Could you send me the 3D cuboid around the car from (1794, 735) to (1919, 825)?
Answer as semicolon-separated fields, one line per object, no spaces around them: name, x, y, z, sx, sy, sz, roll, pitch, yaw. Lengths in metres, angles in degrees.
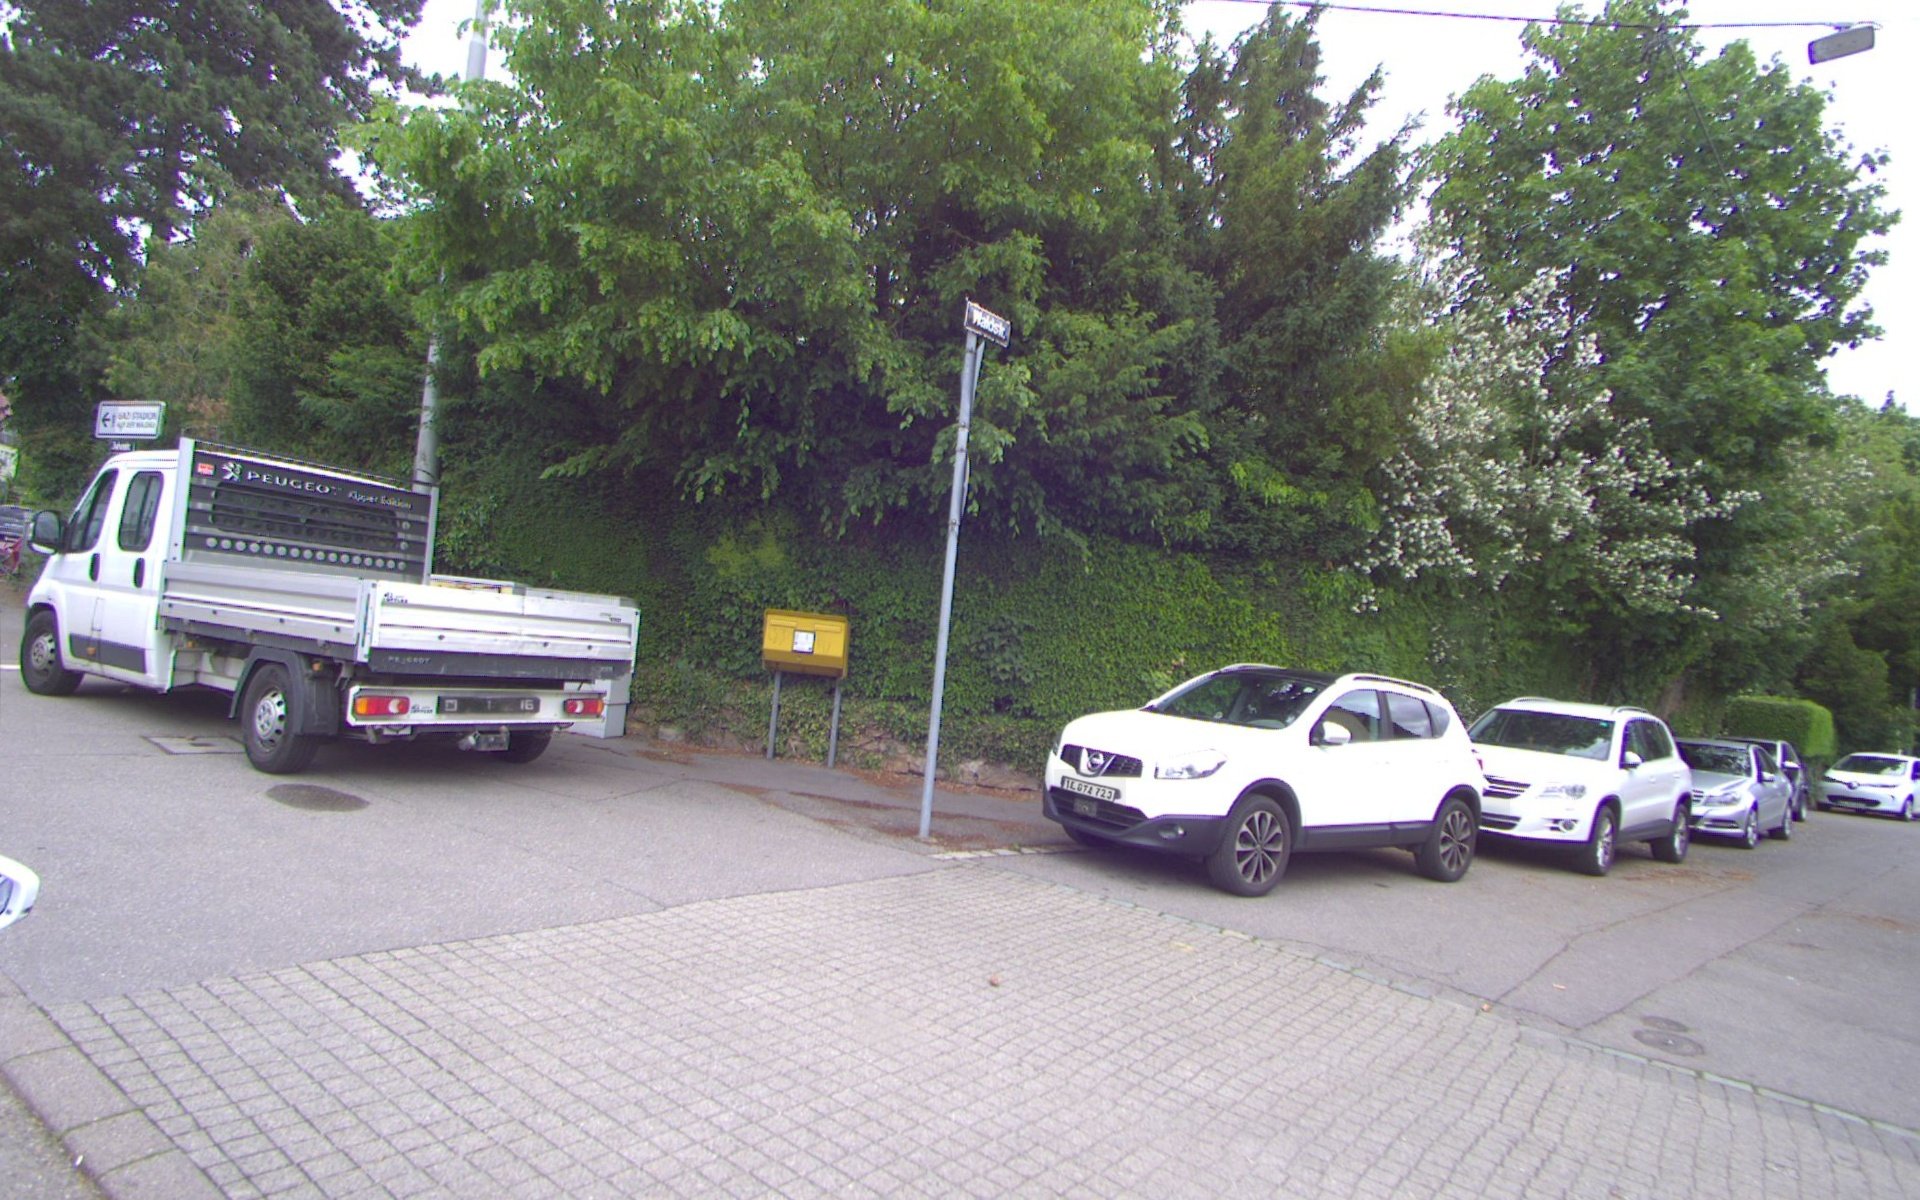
car;22.683;4.451;24.814;3.960;1.728;1.983;8;-1;-32

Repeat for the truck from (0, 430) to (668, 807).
truck;-5.407;-0.010;8.331;5.784;2.219;2.189;6;-3;31

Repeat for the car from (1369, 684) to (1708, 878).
car;6.503;1.940;11.126;4.048;1.483;1.977;9;-2;-42

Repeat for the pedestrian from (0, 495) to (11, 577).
pedestrian;-22.240;-1.429;22.734;0.579;2.037;0.839;8;0;31

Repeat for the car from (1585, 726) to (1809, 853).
car;11.171;2.795;15.127;4.272;1.461;1.978;10;-7;-43

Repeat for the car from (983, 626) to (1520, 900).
car;2.516;1.321;8.261;4.220;1.610;1.970;10;-4;-36

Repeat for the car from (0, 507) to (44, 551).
car;-51.562;-3.899;54.519;4.444;2.036;1.994;4;-4;39

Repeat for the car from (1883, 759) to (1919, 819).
car;26.602;5.241;27.294;3.358;1.440;1.656;9;-2;-38

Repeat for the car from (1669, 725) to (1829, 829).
car;15.326;3.409;19.521;2.902;1.548;1.846;9;-2;-42
